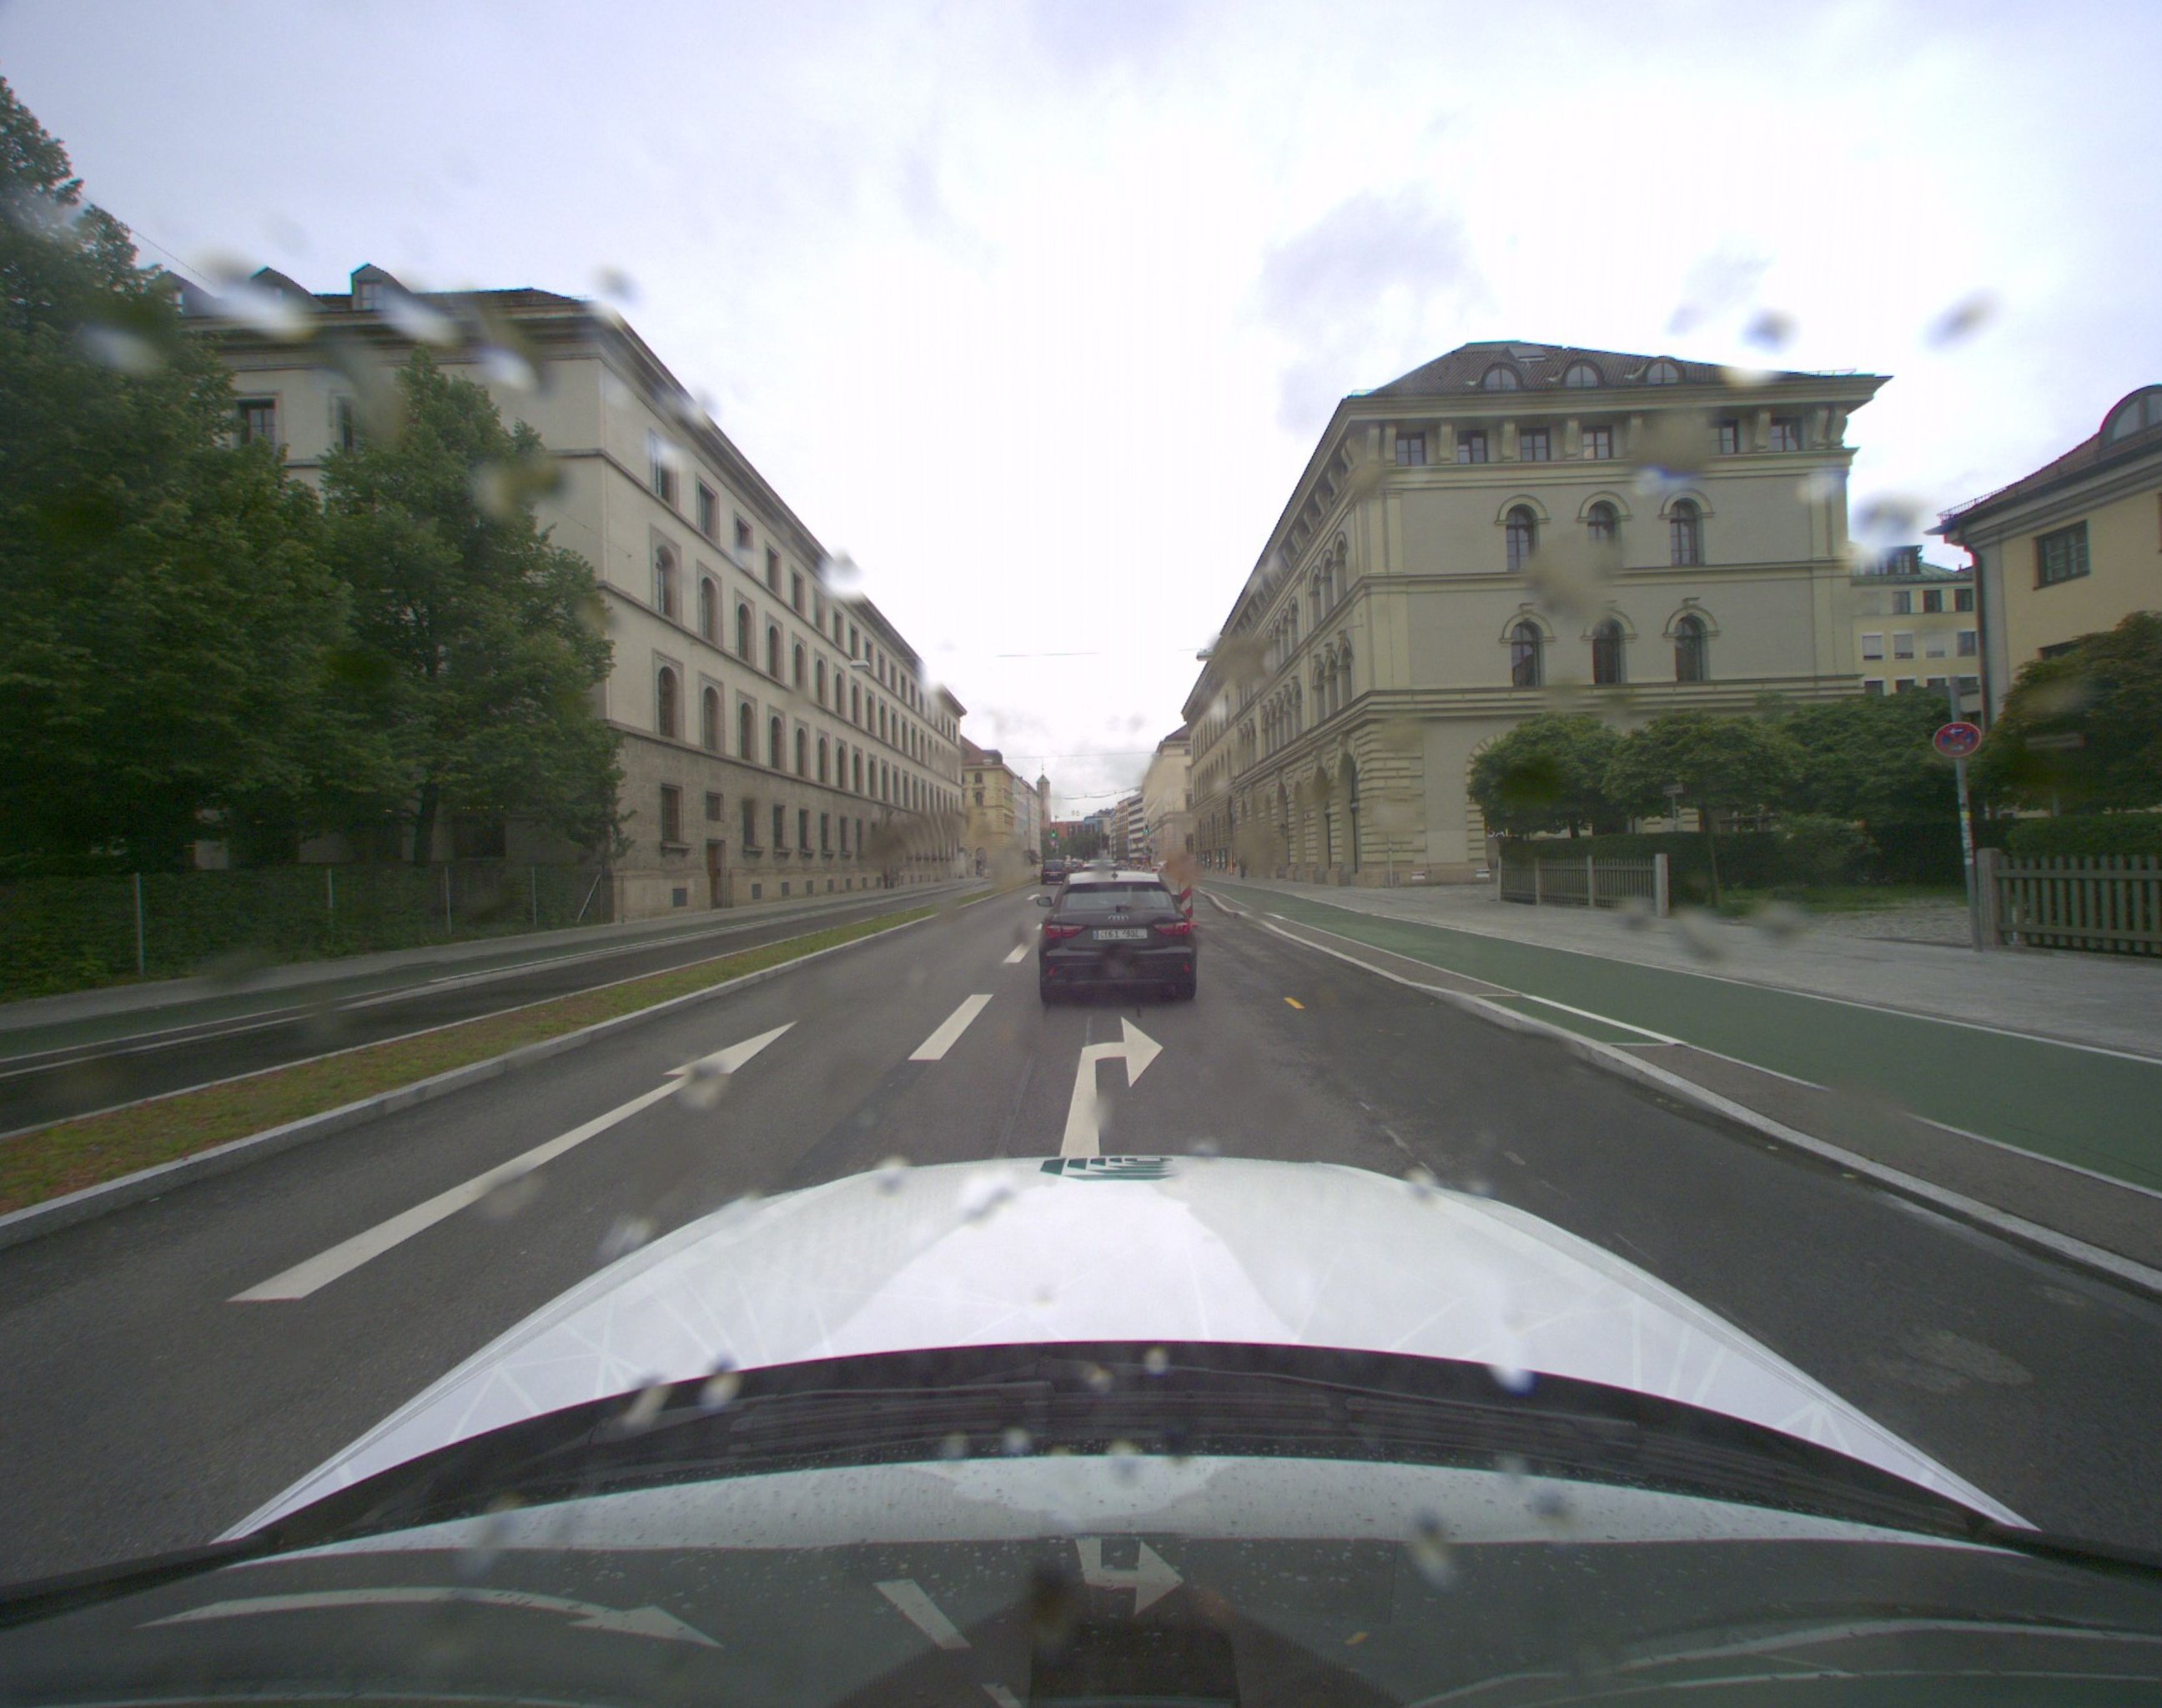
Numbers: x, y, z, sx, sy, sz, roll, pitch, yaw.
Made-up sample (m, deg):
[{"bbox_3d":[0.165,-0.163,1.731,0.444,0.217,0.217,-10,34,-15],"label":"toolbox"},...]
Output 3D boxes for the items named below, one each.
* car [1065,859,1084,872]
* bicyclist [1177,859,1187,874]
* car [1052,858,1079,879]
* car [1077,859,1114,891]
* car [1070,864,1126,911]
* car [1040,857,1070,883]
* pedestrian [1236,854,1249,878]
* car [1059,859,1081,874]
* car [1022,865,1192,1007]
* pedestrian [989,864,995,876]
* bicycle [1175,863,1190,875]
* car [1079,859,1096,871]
[{"bbox_3d":[-0.692,1.259,91.074,1.986,1.444,4.002,-2,0,2],"label":"car"},{"bbox_3d":[10.005,1.216,80.308,0.711,1.500,0.750,-2,-1,-16],"label":"bicyclist"},{"bbox_3d":[-1.239,1.164,67.237,1.986,1.627,4.002,-2,0,2],"label":"car"},{"bbox_3d":[0.722,1.007,40.228,1.724,1.461,4.001,0,0,1],"label":"car"},{"bbox_3d":[0.581,1.050,27.033,1.724,1.403,4.001,0,0,1],"label":"car"},{"bbox_3d":[-1.686,1.040,54.784,1.758,1.616,4.031,-1,0,1],"label":"car"},{"bbox_3d":[10.891,0.823,54.985,0.707,1.618,0.754,-2,-1,1],"label":"pedestrian"},{"bbox_3d":[-1.041,1.194,78.995,1.986,1.444,4.002,-2,0,2],"label":"car"},{"bbox_3d":[0.323,0.859,10.298,1.724,1.403,4.001,0,0,1],"label":"car"},{"bbox_3d":[-13.372,2.395,122.431,0.653,1.805,0.727,-2,-1,1],"label":"pedestrian"},{"bbox_3d":[9.992,1.513,80.383,0.729,1.156,2.160,-2,-1,-15],"label":"bicycle"},{"bbox_3d":[0.834,1.441,104.460,1.986,1.444,4.002,-2,0,2],"label":"car"}]
